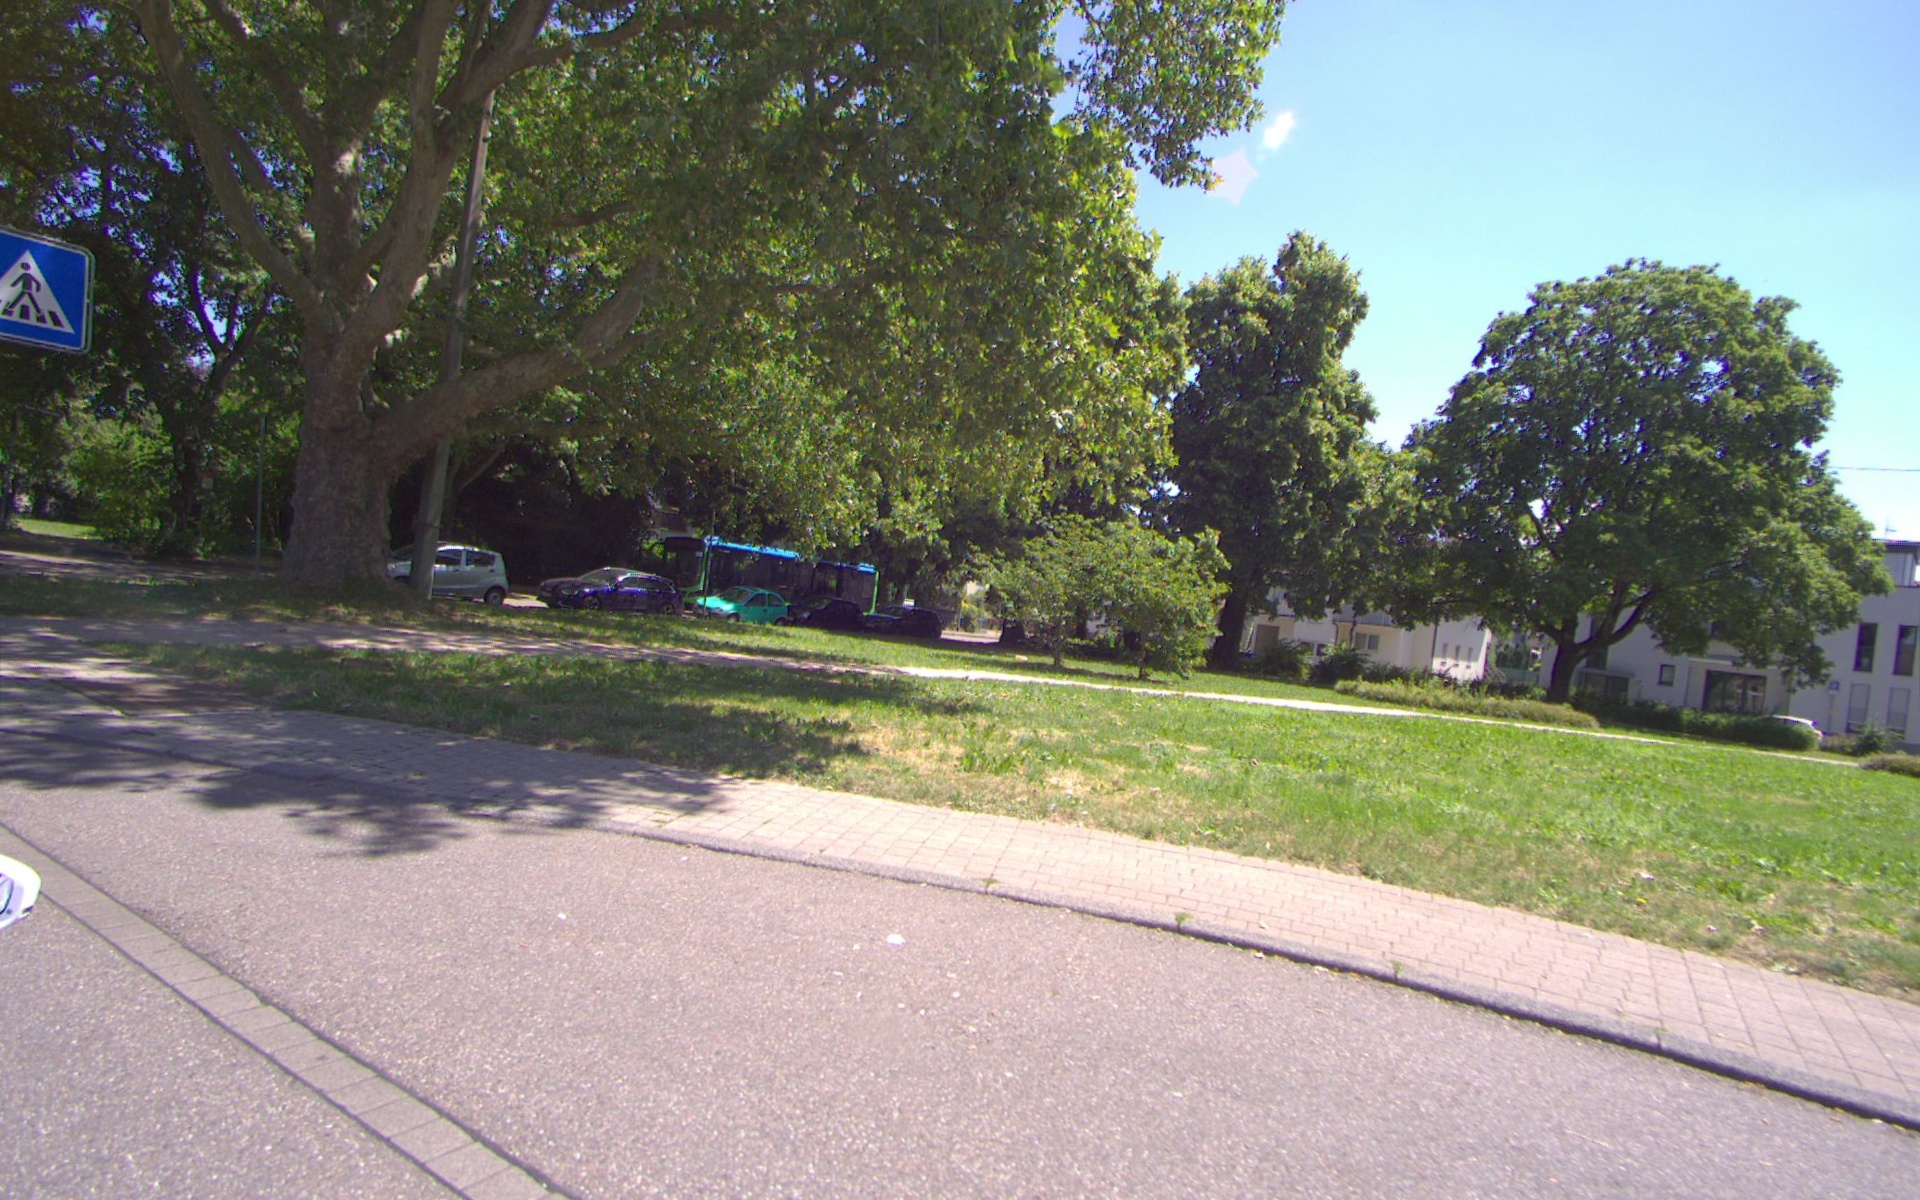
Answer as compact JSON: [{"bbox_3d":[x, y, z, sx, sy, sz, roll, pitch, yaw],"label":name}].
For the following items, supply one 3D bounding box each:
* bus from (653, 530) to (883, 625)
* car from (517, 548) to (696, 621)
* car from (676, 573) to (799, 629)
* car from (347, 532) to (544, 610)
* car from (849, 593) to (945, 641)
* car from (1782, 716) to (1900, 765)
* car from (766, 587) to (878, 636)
[{"bbox_3d":[-8.159,-0.794,45.511,2.231,3.014,12.394,6,-1,31],"label":"bus"},{"bbox_3d":[-10.617,-0.411,30.592,1.968,1.627,4.827,7,0,33],"label":"car"},{"bbox_3d":[-7.760,0.067,35.398,1.967,1.471,3.886,6,-2,32],"label":"car"},{"bbox_3d":[-13.512,-0.722,26.621,1.969,1.484,4.106,8,0,35],"label":"car"},{"bbox_3d":[-2.696,0.780,43.906,1.968,1.627,4.102,6,-2,33],"label":"car"},{"bbox_3d":[37.943,6.018,43.407,3.656,1.451,1.458,7,0,43],"label":"car"},{"bbox_3d":[-5.346,0.491,39.506,1.967,1.433,4.343,6,-2,32],"label":"car"}]
